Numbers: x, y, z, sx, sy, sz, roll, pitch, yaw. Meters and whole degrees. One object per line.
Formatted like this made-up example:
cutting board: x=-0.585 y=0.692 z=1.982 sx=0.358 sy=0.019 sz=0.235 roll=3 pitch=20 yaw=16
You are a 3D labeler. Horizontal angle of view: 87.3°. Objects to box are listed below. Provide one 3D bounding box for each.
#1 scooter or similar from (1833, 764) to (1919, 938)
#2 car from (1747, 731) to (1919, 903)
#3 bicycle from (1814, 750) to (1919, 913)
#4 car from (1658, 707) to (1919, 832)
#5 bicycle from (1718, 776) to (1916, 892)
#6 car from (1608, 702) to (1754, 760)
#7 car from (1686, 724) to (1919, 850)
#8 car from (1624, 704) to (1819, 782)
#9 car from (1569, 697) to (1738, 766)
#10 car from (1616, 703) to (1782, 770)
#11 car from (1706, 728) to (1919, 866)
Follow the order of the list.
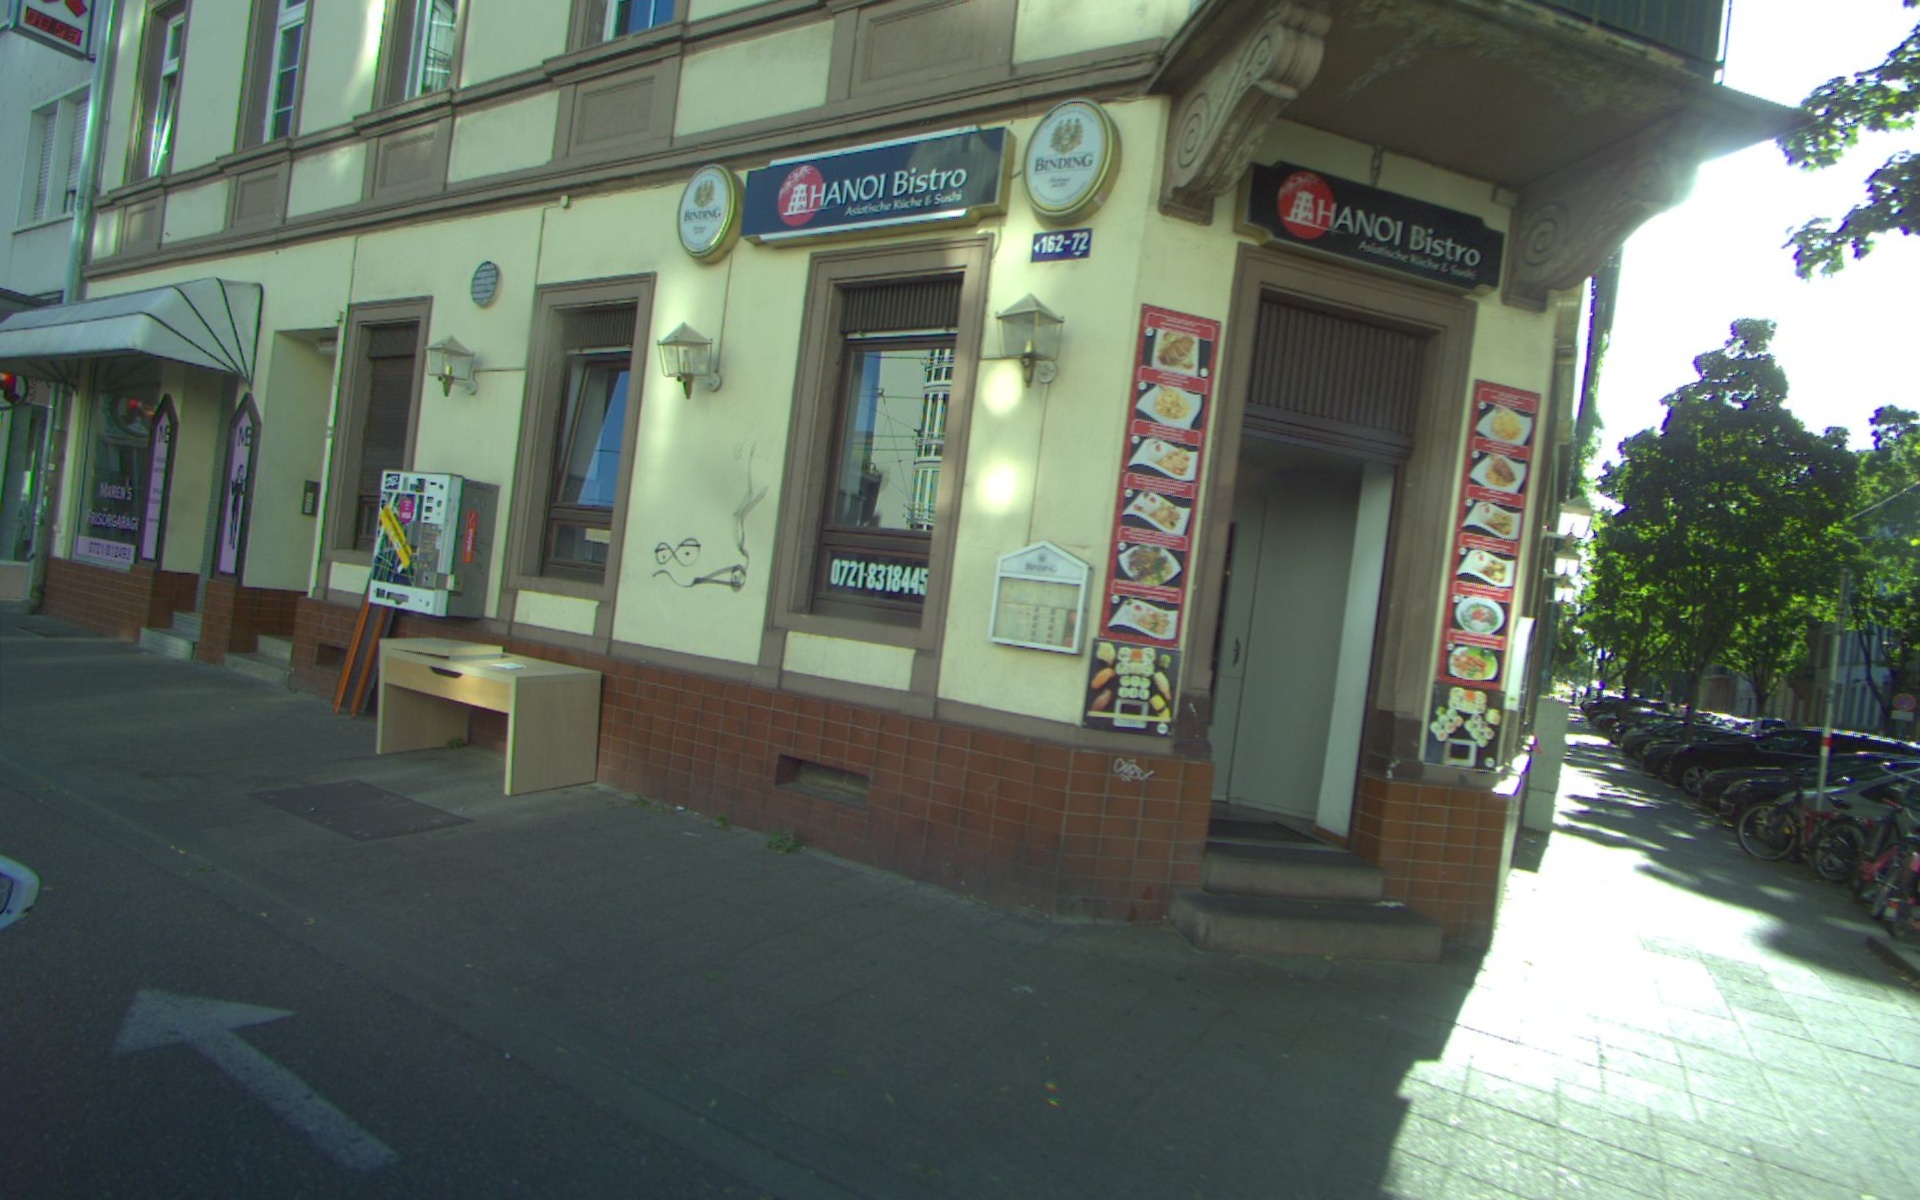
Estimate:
scooter or similar: x=7.346 y=1.928 z=7.725 sx=1.197 sy=1.197 sz=0.422 roll=8 pitch=-1 yaw=-25
car: x=10.804 y=2.452 z=10.516 sx=1.630 sy=1.549 sz=3.627 roll=7 pitch=-1 yaw=-32
bicycle: x=8.681 y=2.099 z=9.088 sx=2.033 sy=1.280 sz=0.577 roll=8 pitch=-1 yaw=-25
car: x=17.040 y=3.343 z=20.203 sx=1.630 sy=1.692 sz=4.597 roll=7 pitch=-1 yaw=-32
bicycle: x=9.001 y=2.428 z=10.665 sx=0.527 sy=0.810 sz=1.757 roll=7 pitch=-1 yaw=1
car: x=30.270 y=5.481 z=42.392 sx=1.630 sy=1.692 sz=4.597 roll=7 pitch=-1 yaw=-32
car: x=13.899 y=2.961 z=15.799 sx=1.631 sy=1.377 sz=3.627 roll=9 pitch=-2 yaw=-32
car: x=24.236 y=4.522 z=32.200 sx=1.630 sy=1.692 sz=4.597 roll=7 pitch=-1 yaw=-32
car: x=24.719 y=4.657 z=36.030 sx=1.630 sy=1.692 sz=4.597 roll=7 pitch=-1 yaw=-32
car: x=27.500 y=5.052 z=37.607 sx=1.630 sy=1.692 sz=4.597 roll=7 pitch=-1 yaw=-32
car: x=12.381 y=2.687 z=13.298 sx=1.630 sy=1.378 sz=3.627 roll=8 pitch=-1 yaw=-32
